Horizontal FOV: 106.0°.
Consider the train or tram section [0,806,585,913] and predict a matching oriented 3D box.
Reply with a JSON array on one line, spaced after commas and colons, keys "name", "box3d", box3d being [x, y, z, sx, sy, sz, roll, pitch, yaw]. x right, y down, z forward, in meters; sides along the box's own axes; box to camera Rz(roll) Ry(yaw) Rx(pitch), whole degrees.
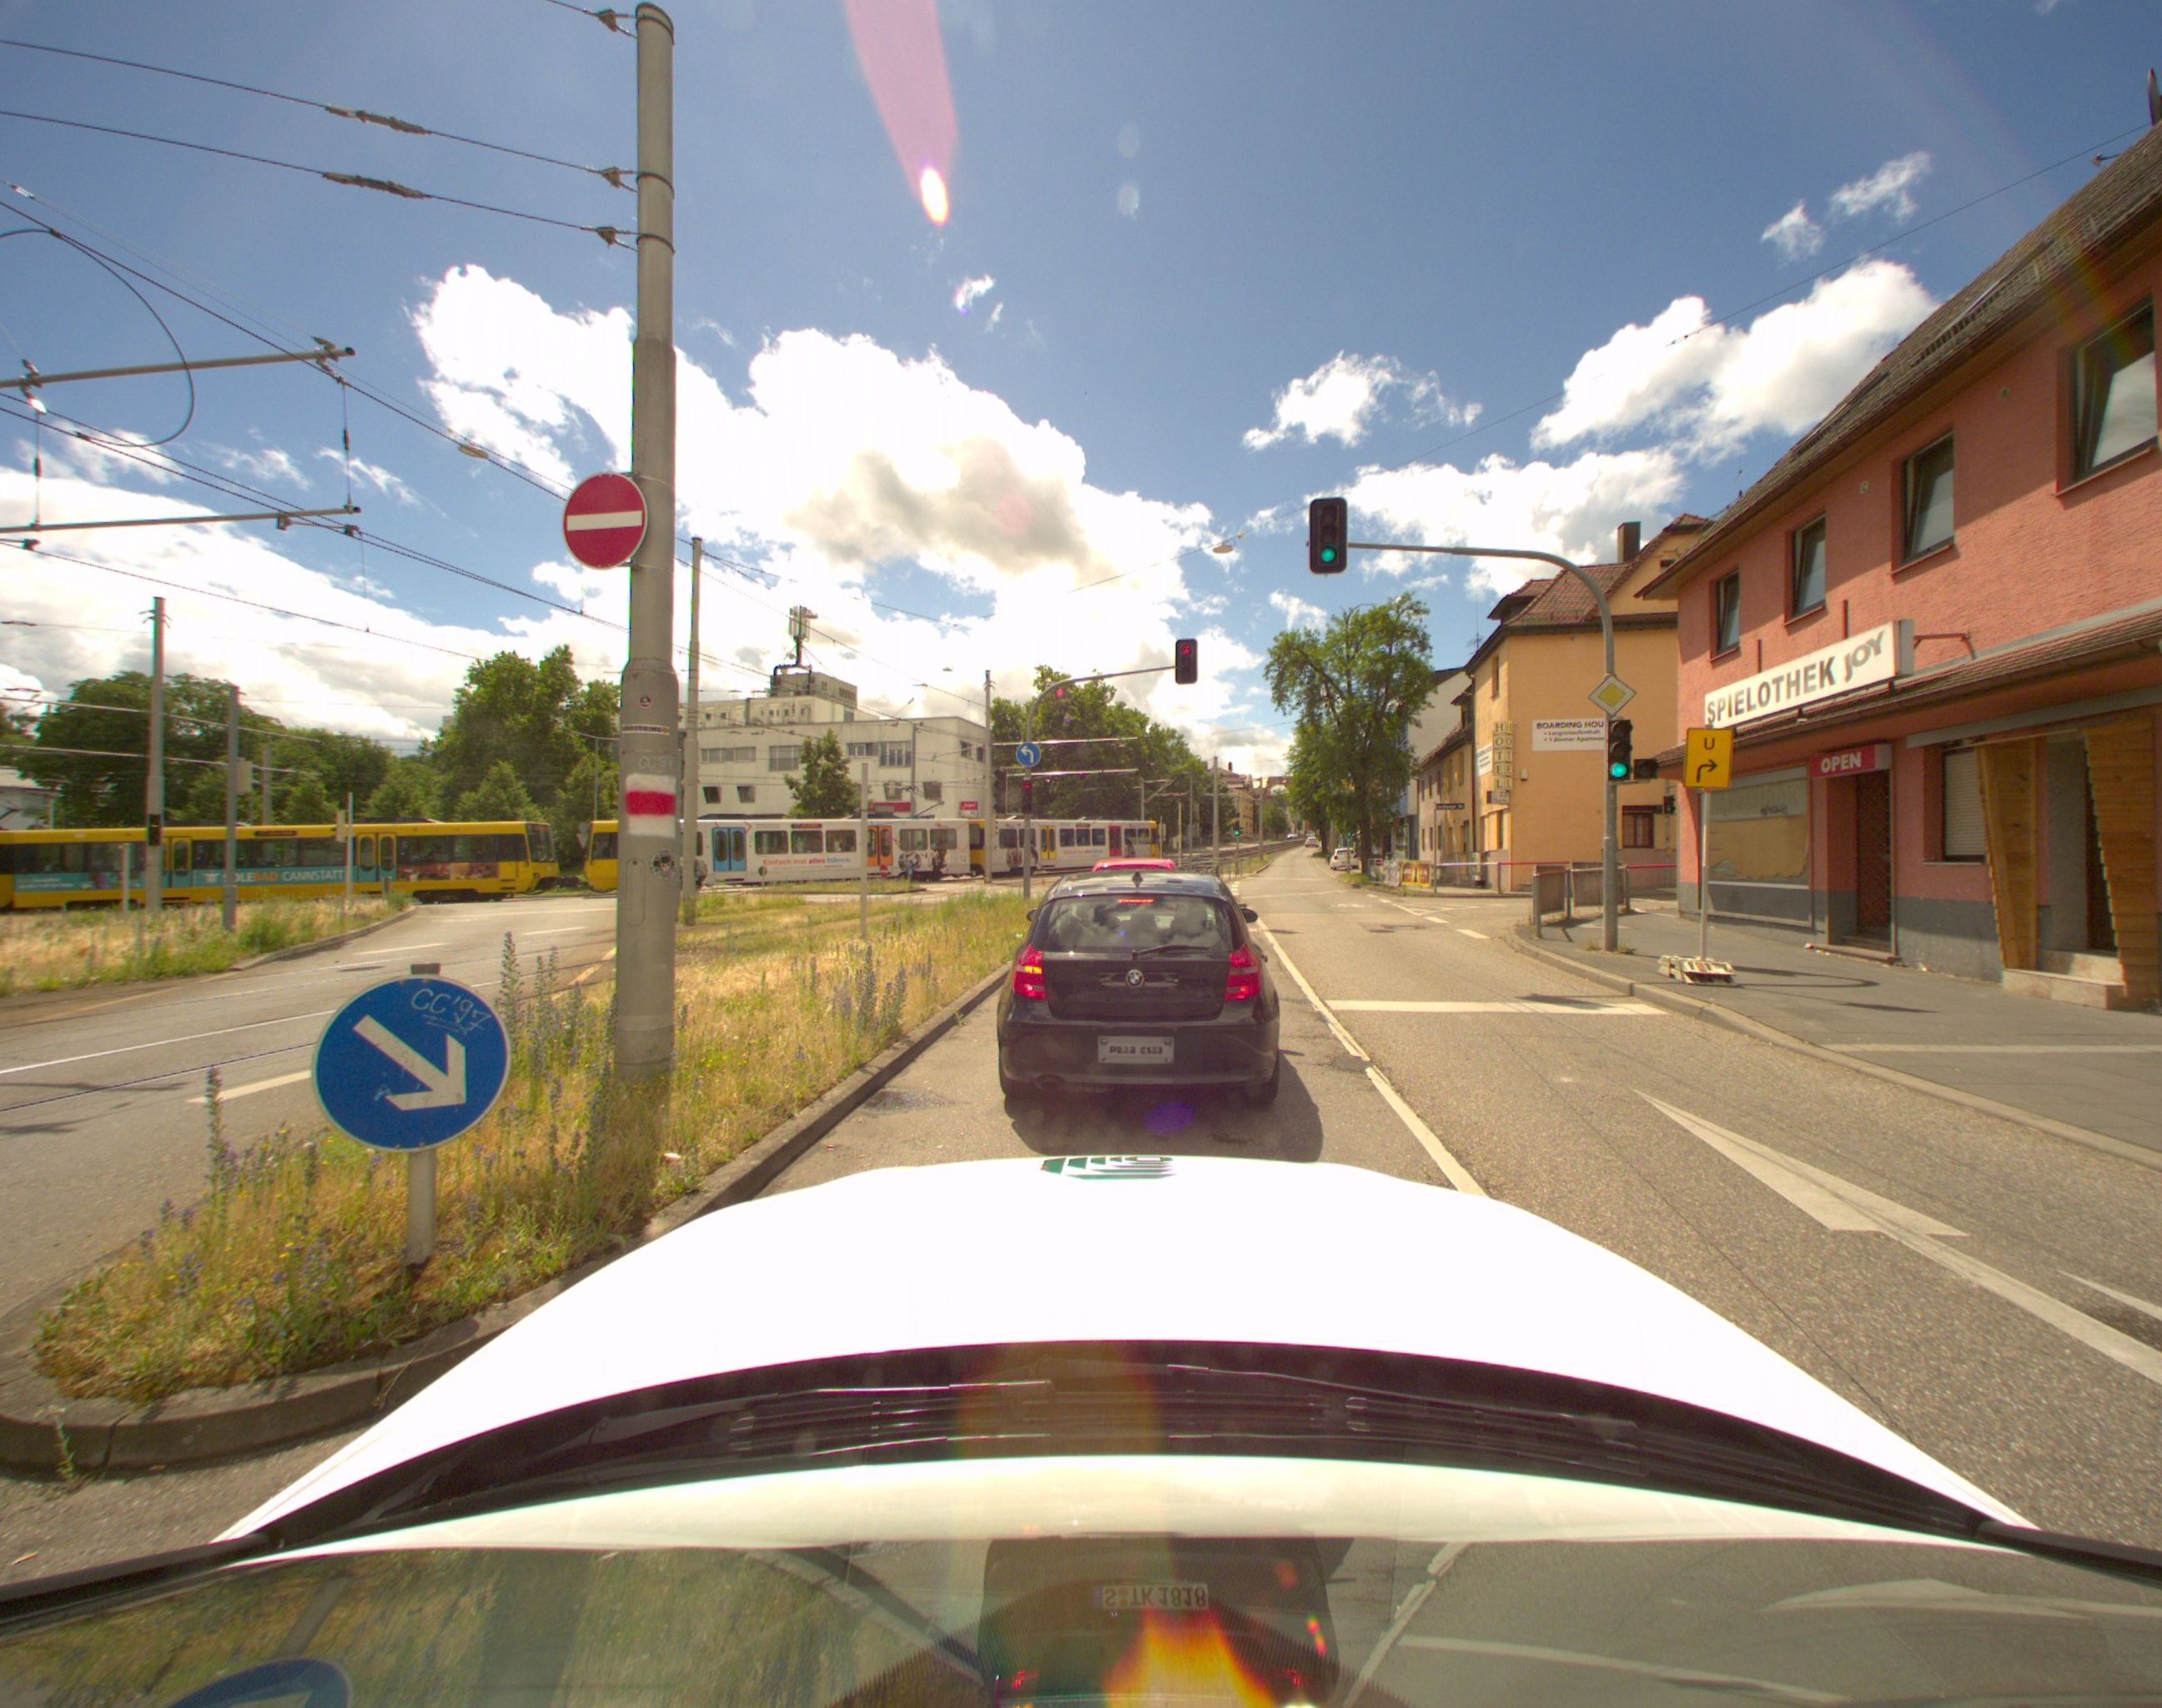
[{"name": "train or tram section", "box3d": [-32.947, 0.154, 34.703, 20.081, 3.829, 3.749, -2, -1, -10]}]

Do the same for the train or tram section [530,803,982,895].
[{"name": "train or tram section", "box3d": [-15.286, -0.316, 41.256, 20.707, 3.879, 3.723, -1, -1, -32]}]

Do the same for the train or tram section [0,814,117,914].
[{"name": "train or tram section", "box3d": [-51.310, 0.707, 34.653, 18.727, 3.919, 3.770, -2, -1, 8]}]

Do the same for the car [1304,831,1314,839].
[{"name": "car", "box3d": [57.679, -4.767, 206.030, 1.976, 2.014, 4.022, -2, -1, 23]}]

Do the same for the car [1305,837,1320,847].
[{"name": "car", "box3d": [34.889, -1.858, 122.656, 1.799, 1.468, 4.022, -1, 0, 22]}]

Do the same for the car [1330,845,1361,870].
[{"name": "car", "box3d": [17.981, 0.224, 55.552, 1.774, 1.596, 4.016, -2, -1, 15]}]

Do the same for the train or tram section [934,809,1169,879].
[{"name": "train or tram section", "box3d": [-0.976, -0.583, 54.231, 3.712, 3.814, 20.179, -2, -1, 37]}]

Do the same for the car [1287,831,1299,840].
[{"name": "car", "box3d": [48.643, -4.229, 186.925, 1.976, 2.014, 4.022, -2, -1, 23]}]

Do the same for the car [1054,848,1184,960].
[{"name": "car", "box3d": [0.752, 0.701, 12.932, 1.616, 1.473, 4.009, -2, -1, 8]}]

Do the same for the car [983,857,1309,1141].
[{"name": "car", "box3d": [0.336, 0.795, 6.325, 1.696, 1.452, 3.999, -2, -1, 0]}]
